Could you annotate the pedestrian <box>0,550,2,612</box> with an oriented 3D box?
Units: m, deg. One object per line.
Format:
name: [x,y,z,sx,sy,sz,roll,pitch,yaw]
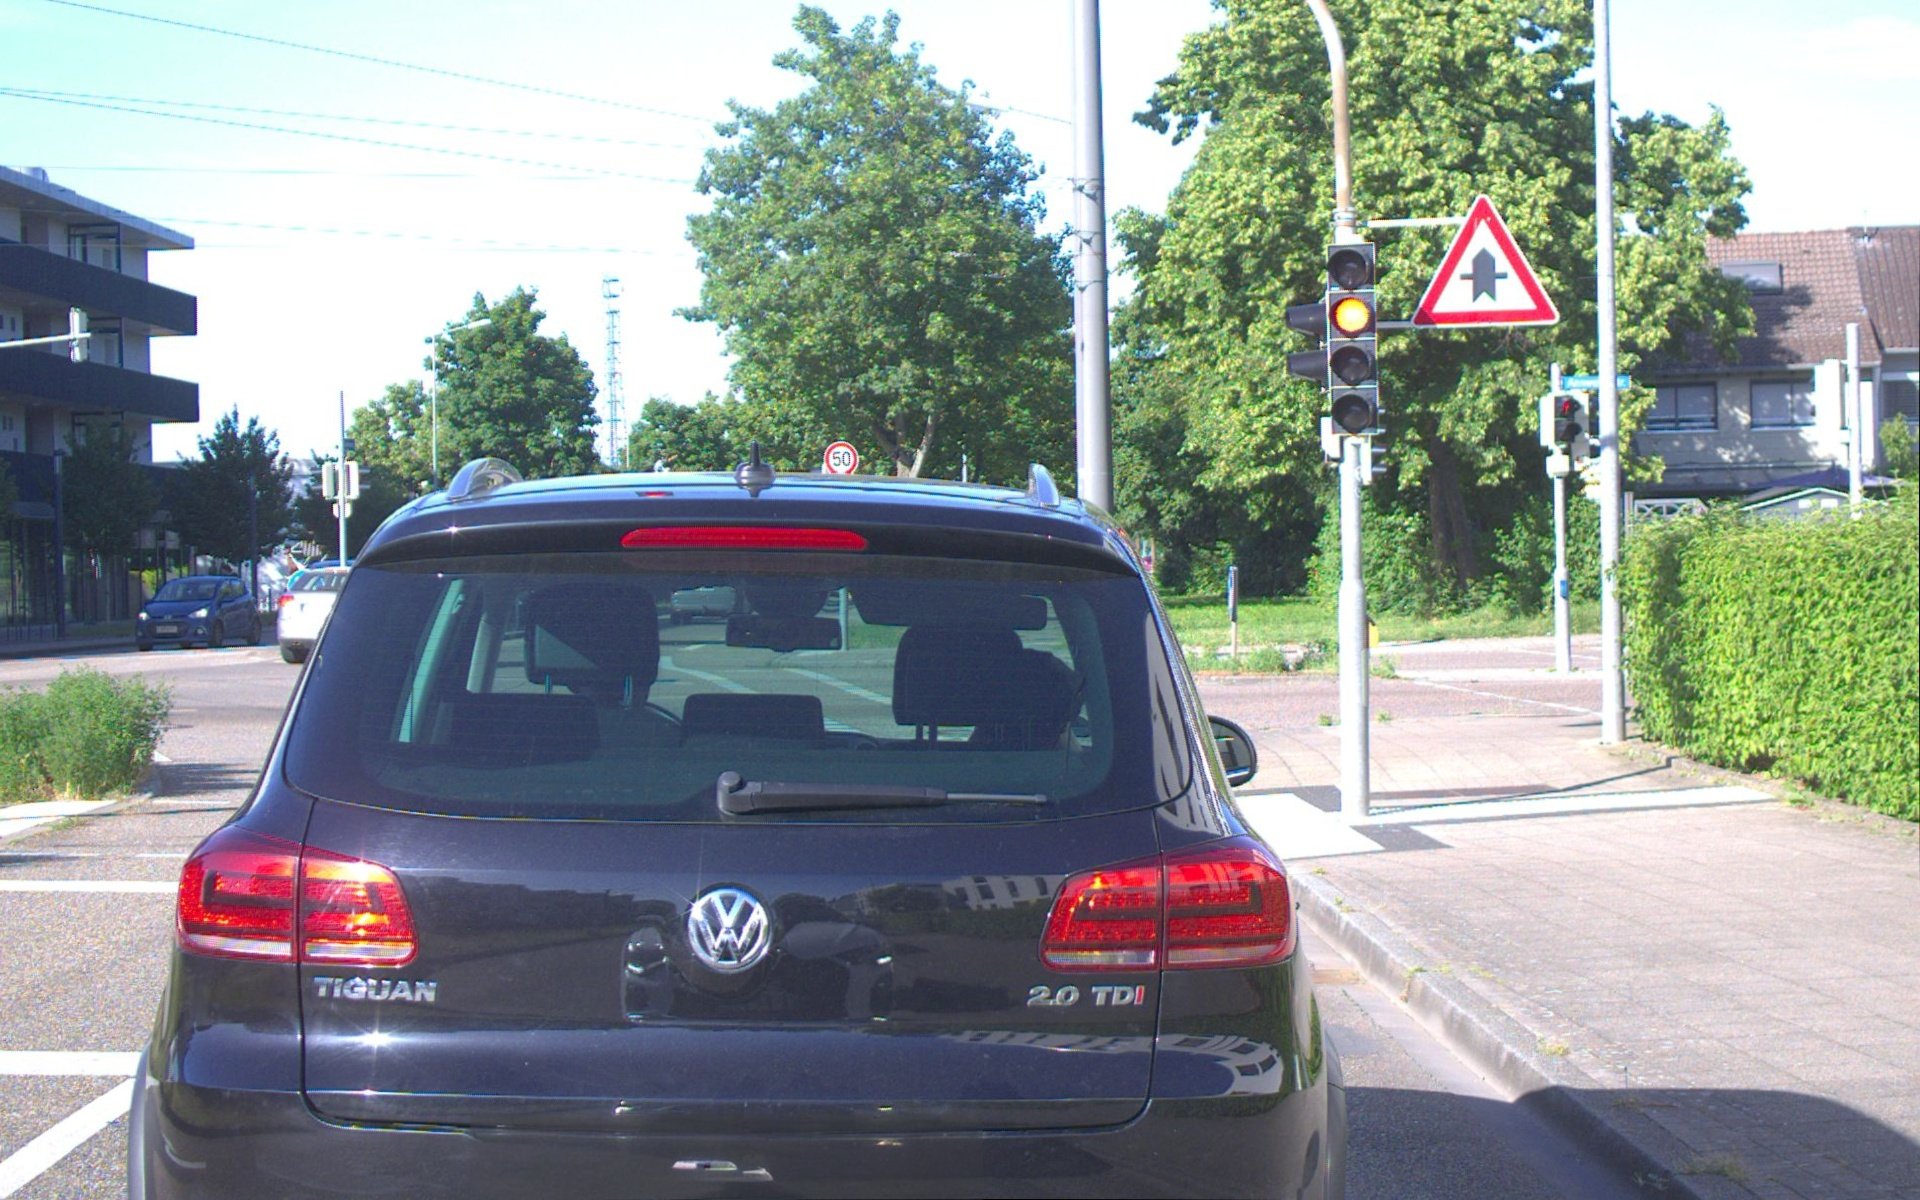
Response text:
pedestrian: [-23.871,-0.471,84.400,0.642,1.504,0.596,1,0,-12]

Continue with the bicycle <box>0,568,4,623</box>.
bicycle: [-23.851,-0.115,84.345,0.630,1.327,1.913,1,1,-12]

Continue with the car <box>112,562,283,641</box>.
car: [-15.783,0.015,71.363,1.994,1.569,4.337,1,1,9]

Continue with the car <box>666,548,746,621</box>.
car: [-6.561,-0.419,89.001,1.993,1.830,4.001,1,1,-4]

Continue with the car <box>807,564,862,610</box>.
car: [-4.693,-0.515,128.992,1.993,1.678,4.000,1,1,-2]

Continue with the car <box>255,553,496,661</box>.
car: [-8.581,0.080,50.823,1.865,1.480,4.107,-1,1,17]

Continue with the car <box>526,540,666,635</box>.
car: [-6.817,-0.264,64.729,1.864,1.714,3.686,-1,1,6]

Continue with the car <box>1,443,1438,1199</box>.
car: [-0.341,0.602,6.505,1.869,1.632,4.000,1,1,-1]
